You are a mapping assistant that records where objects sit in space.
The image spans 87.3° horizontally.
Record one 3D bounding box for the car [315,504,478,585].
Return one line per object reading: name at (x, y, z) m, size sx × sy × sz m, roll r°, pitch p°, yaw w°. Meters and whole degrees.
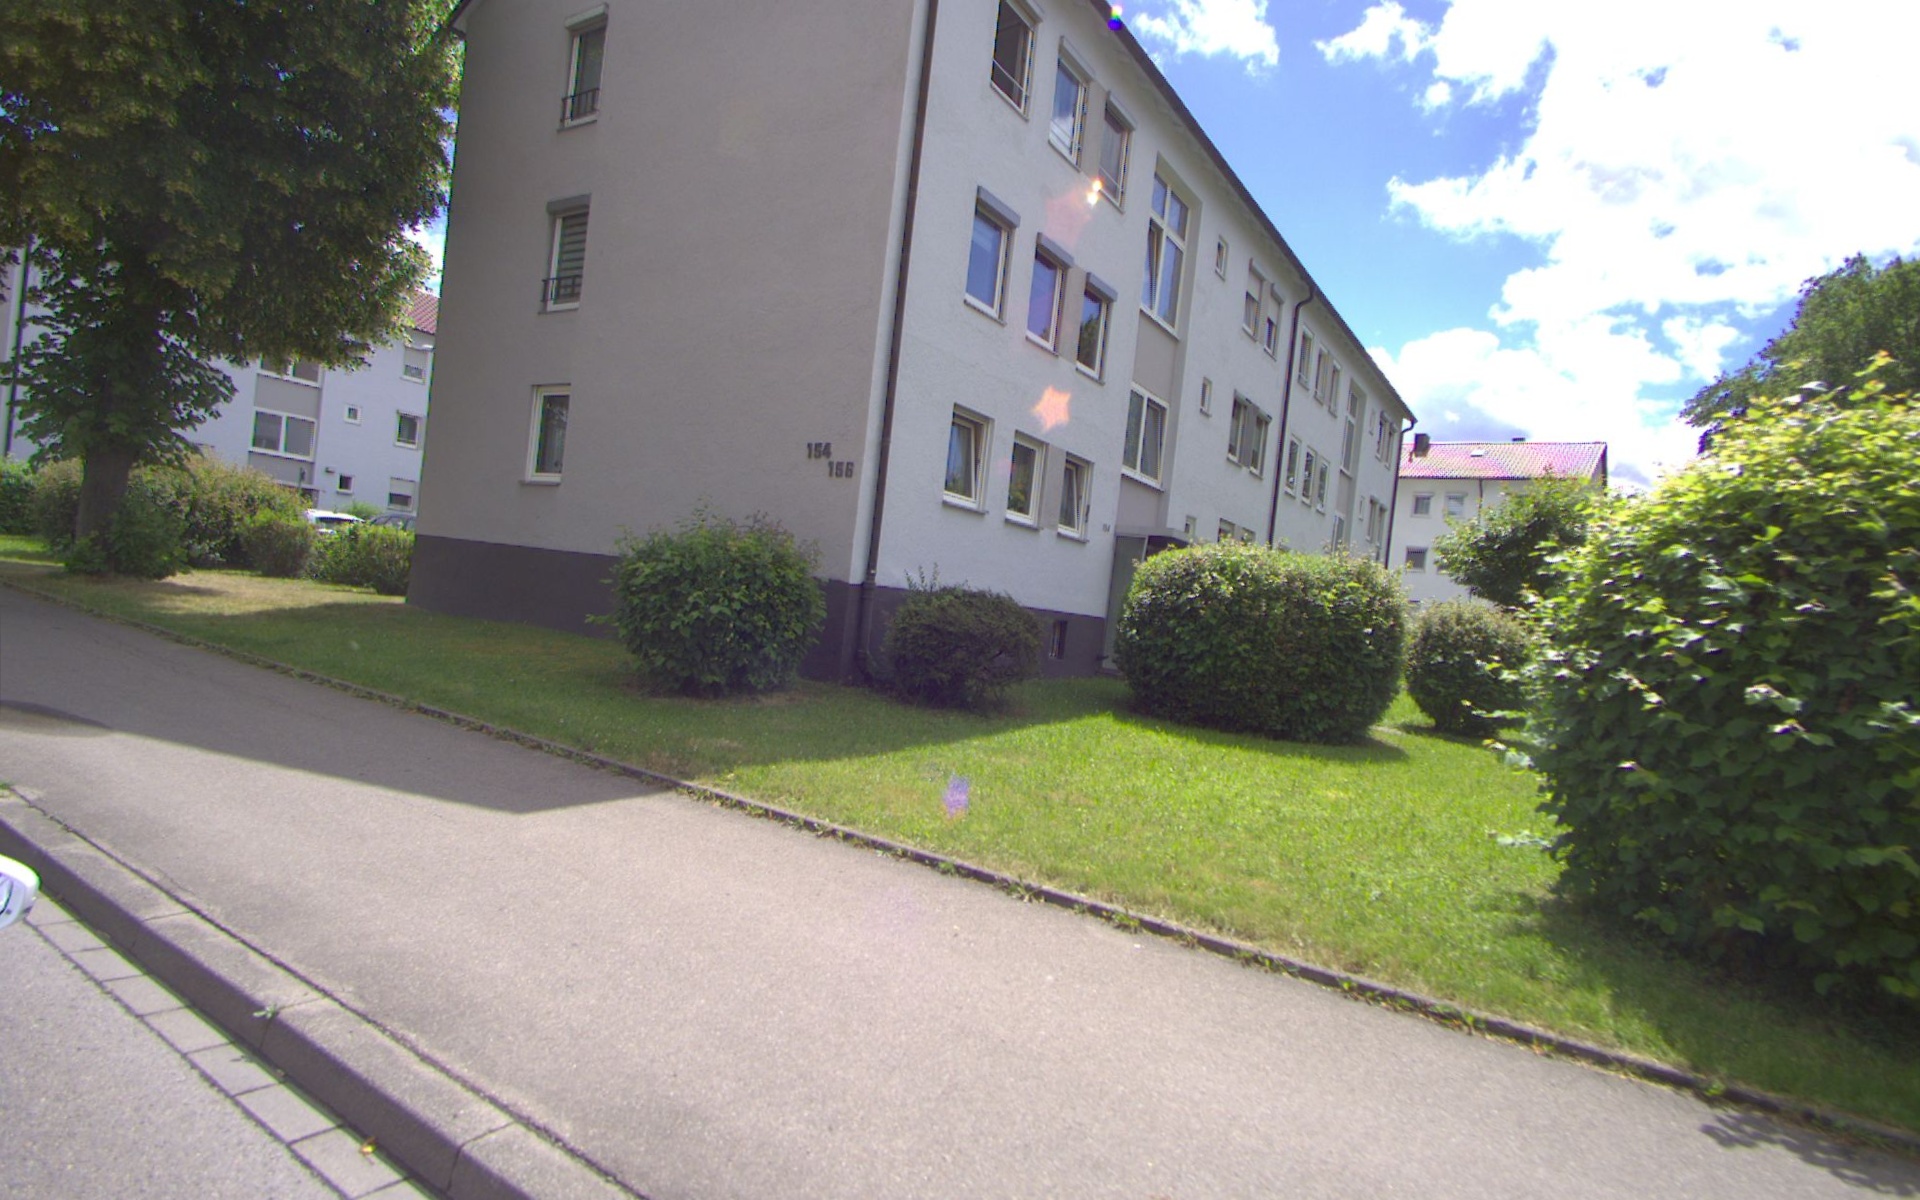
car at (-13.068, -1.296, 23.302) m, size 3.682 × 1.432 × 1.678 m, roll 6°, pitch -2°, yaw 33°
